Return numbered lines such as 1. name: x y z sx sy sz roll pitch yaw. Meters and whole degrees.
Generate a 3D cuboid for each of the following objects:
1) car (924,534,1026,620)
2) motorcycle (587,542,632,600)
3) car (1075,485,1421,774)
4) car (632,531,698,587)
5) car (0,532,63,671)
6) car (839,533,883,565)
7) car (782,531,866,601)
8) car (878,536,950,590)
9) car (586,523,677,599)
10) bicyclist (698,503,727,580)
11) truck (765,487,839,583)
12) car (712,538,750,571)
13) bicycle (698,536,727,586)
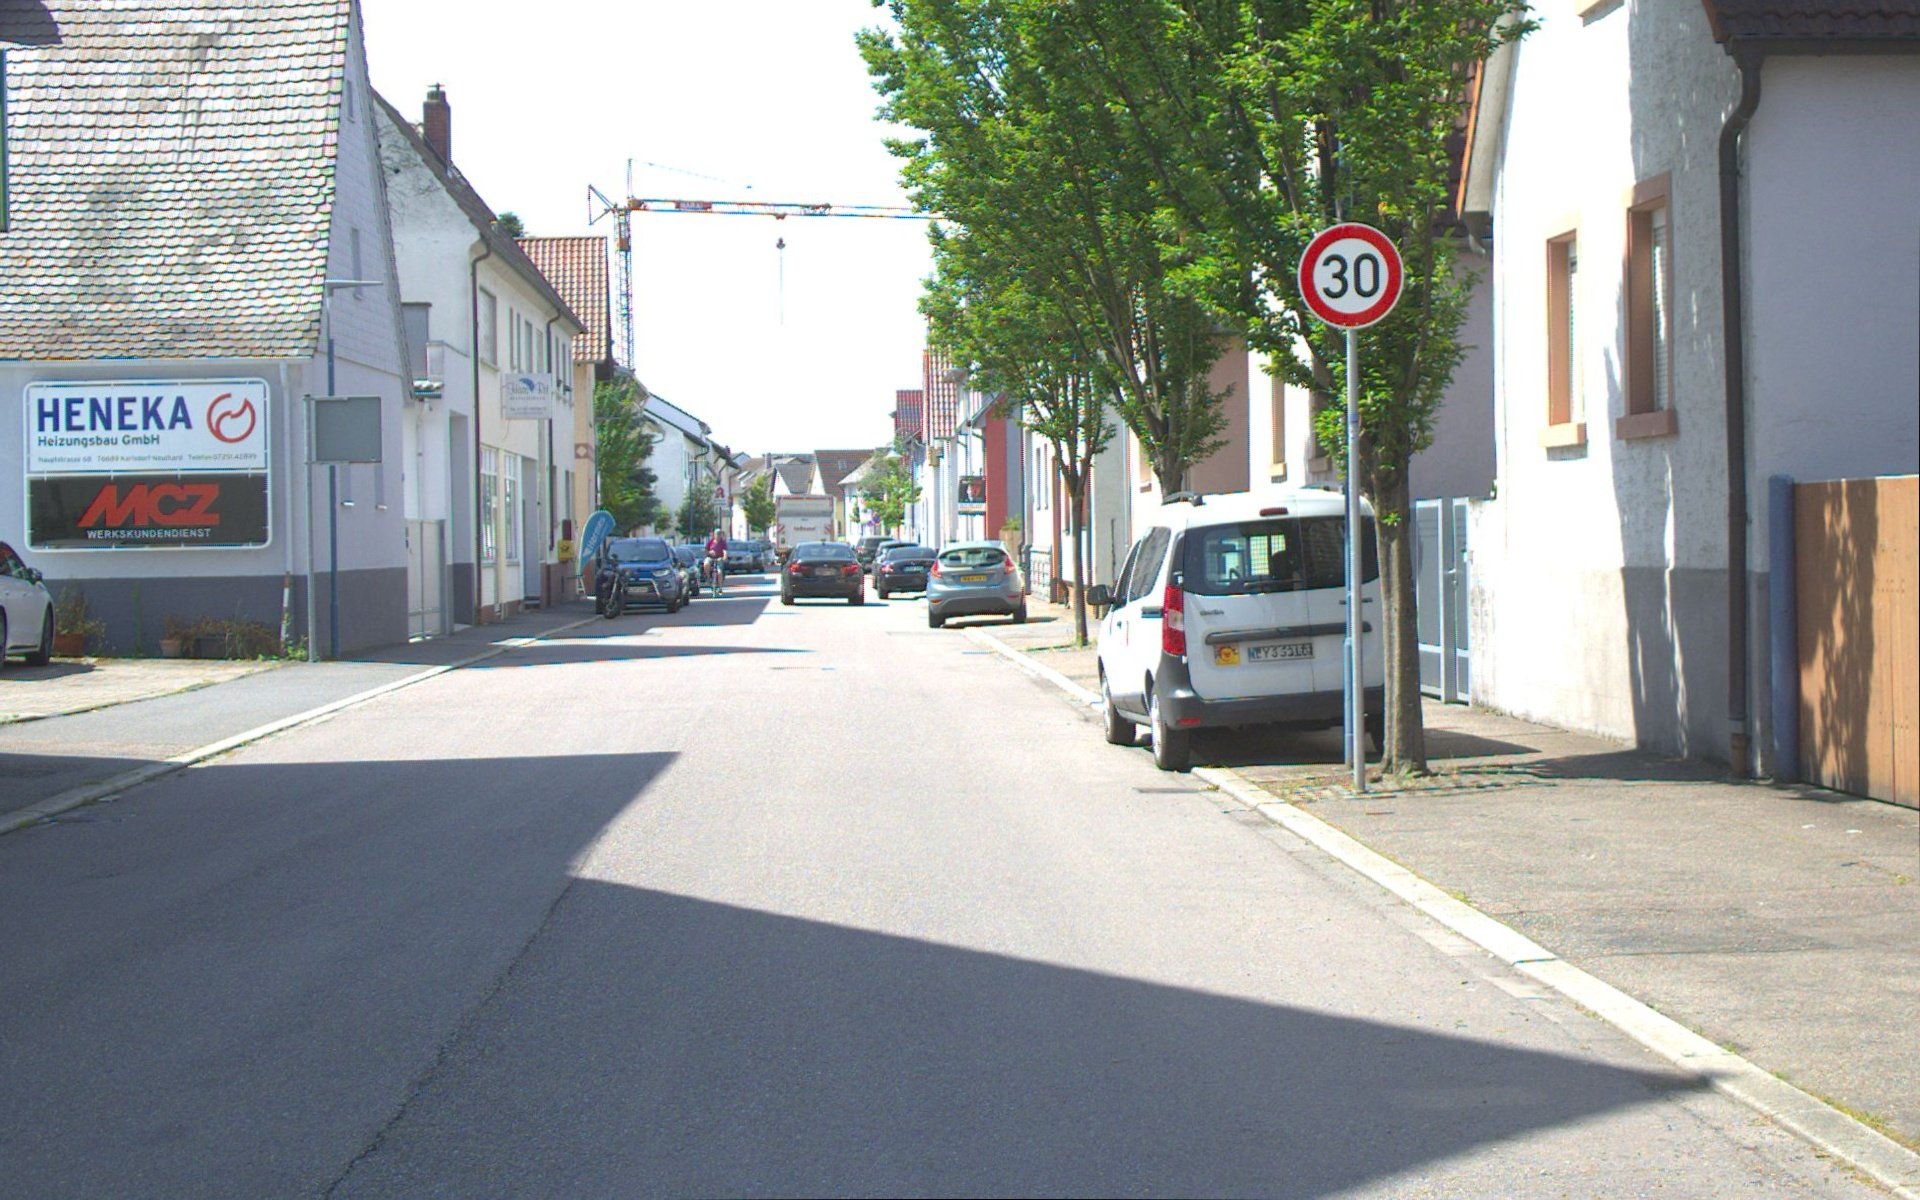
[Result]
1. car: 0.233 -0.438 60.936 1.719 1.456 4.157 -1 1 -1
2. motorcycle: -7.242 -0.606 71.089 0.846 1.166 2.469 1 1 -4
3. car: 1.931 0.144 24.224 1.719 1.784 4.145 -3 1 -4
4. car: -8.571 -1.203 100.149 1.809 1.583 4.001 -1 1 -3
5. car: -11.753 -0.019 40.211 1.719 1.550 4.200 0 1 -4
6. car: -3.988 -2.050 138.089 1.719 1.264 4.157 -1 1 -2
7. car: -3.144 -0.814 80.118 1.902 1.558 4.477 -1 1 -2
8. car: -1.218 -0.986 89.277 1.719 1.350 4.157 -1 1 -2
9. car: -7.127 -0.873 74.922 1.809 1.583 4.001 -1 1 -3
10. bicyclist: -6.655 -1.582 92.603 0.740 2.052 0.844 1 1 -3
11. truck: -7.177 -2.933 157.490 3.144 4.236 9.303 1 1 -1
12. car: -11.305 -2.282 169.873 1.809 1.583 4.001 -1 1 -3
13. bicycle: -6.661 -1.050 92.617 0.751 1.303 2.686 1 1 -3
